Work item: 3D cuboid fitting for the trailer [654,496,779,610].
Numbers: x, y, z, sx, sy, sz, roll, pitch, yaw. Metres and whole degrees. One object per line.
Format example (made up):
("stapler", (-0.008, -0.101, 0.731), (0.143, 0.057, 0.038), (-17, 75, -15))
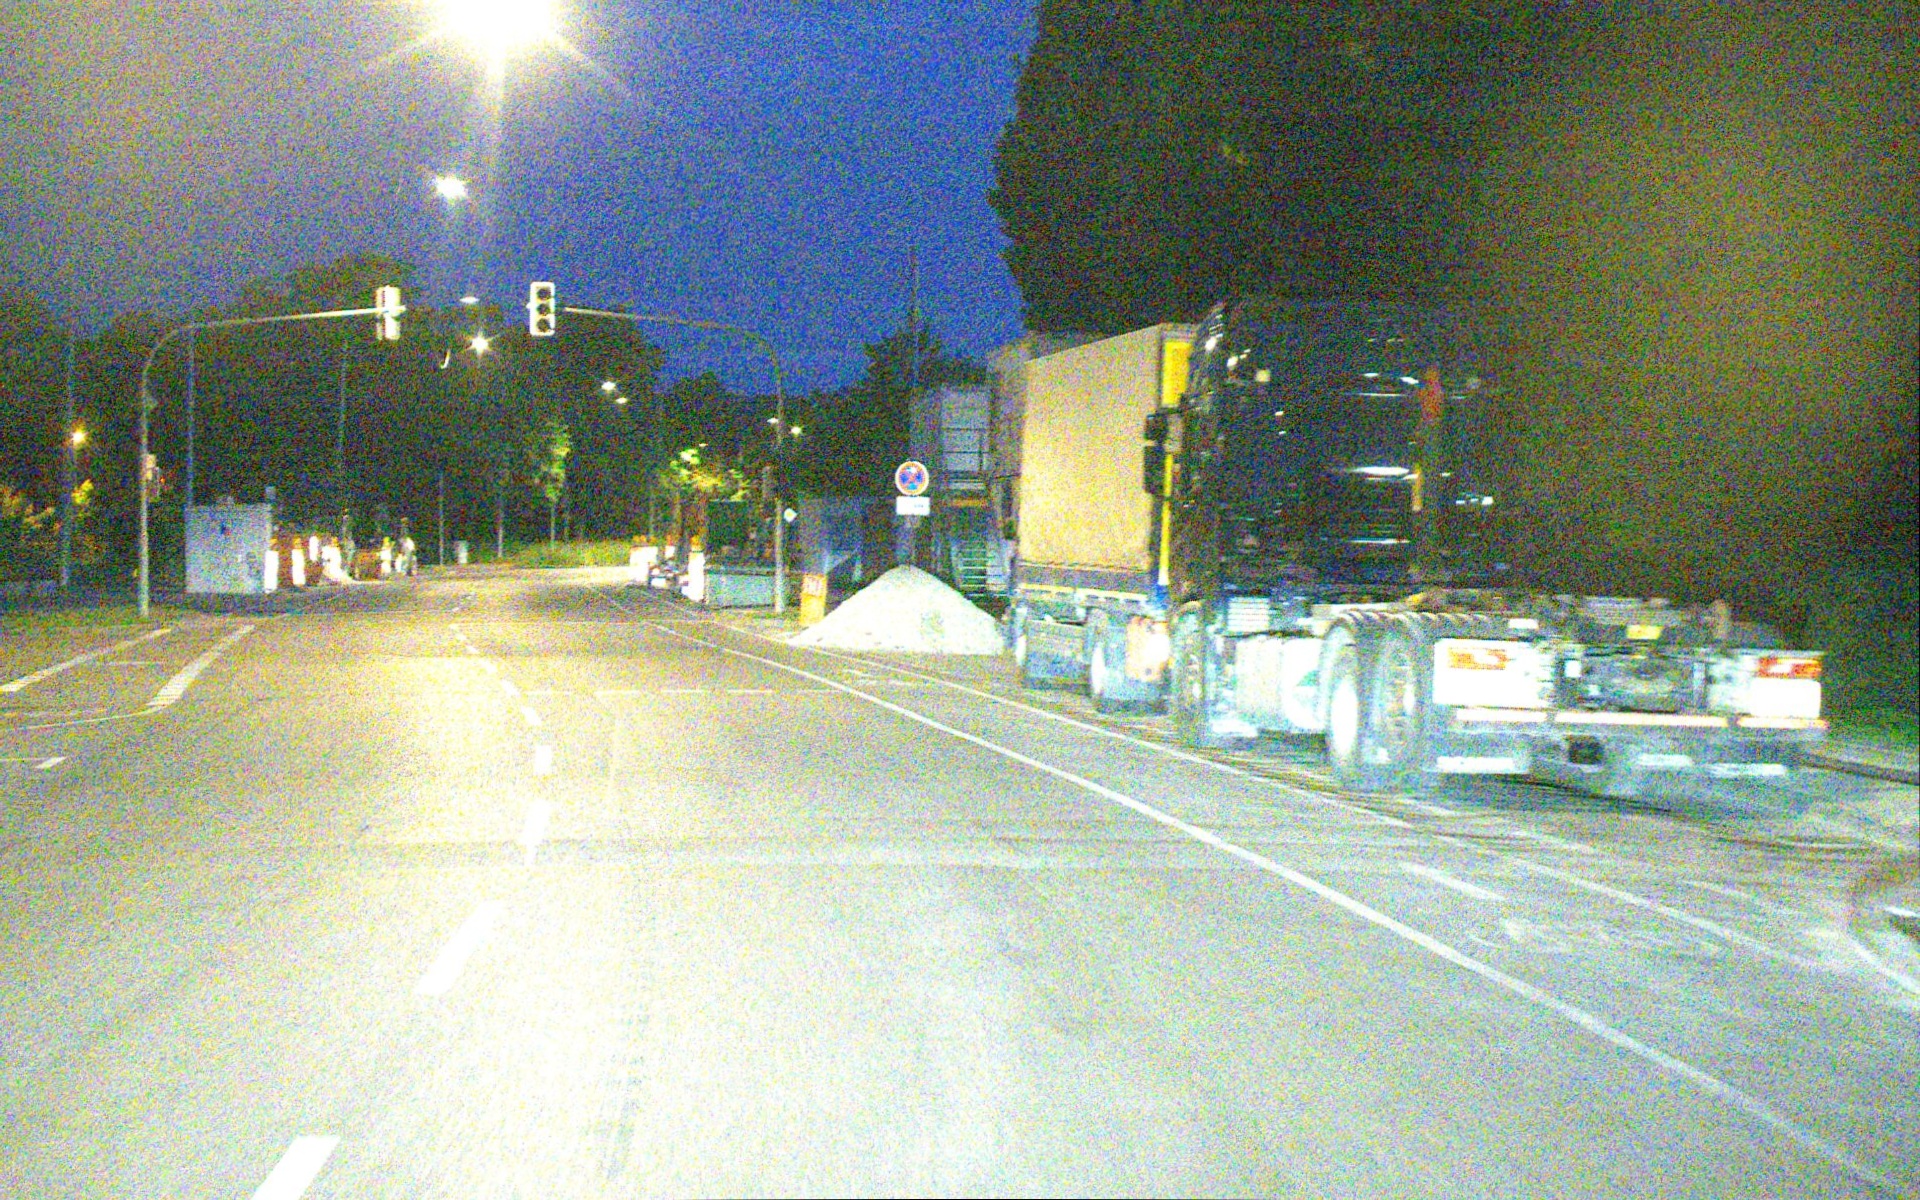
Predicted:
("trailer", (-6.423, -1.207, 90.114), (2.613, 2.836, 4.710), (2, 0, -11))

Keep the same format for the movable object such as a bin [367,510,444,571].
("movable object such as a bin", (-22.354, -2.399, 138.736), (1.994, 2.368, 4.701), (0, 1, 4))

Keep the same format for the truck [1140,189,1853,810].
("truck", (3.541, -0.669, 25.583), (2.754, 3.770, 9.139), (0, 1, -8))

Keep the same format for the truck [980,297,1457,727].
("truck", (2.329, -0.842, 35.445), (2.754, 3.770, 10.228), (0, 1, -8))

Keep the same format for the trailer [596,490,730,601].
("trailer", (-9.083, -1.643, 104.777), (3.480, 3.208, 4.866), (2, 0, -11))

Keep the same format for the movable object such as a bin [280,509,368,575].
("movable object such as a bin", (-23.273, -2.140, 125.975), (1.994, 2.368, 4.701), (0, 2, 4))
